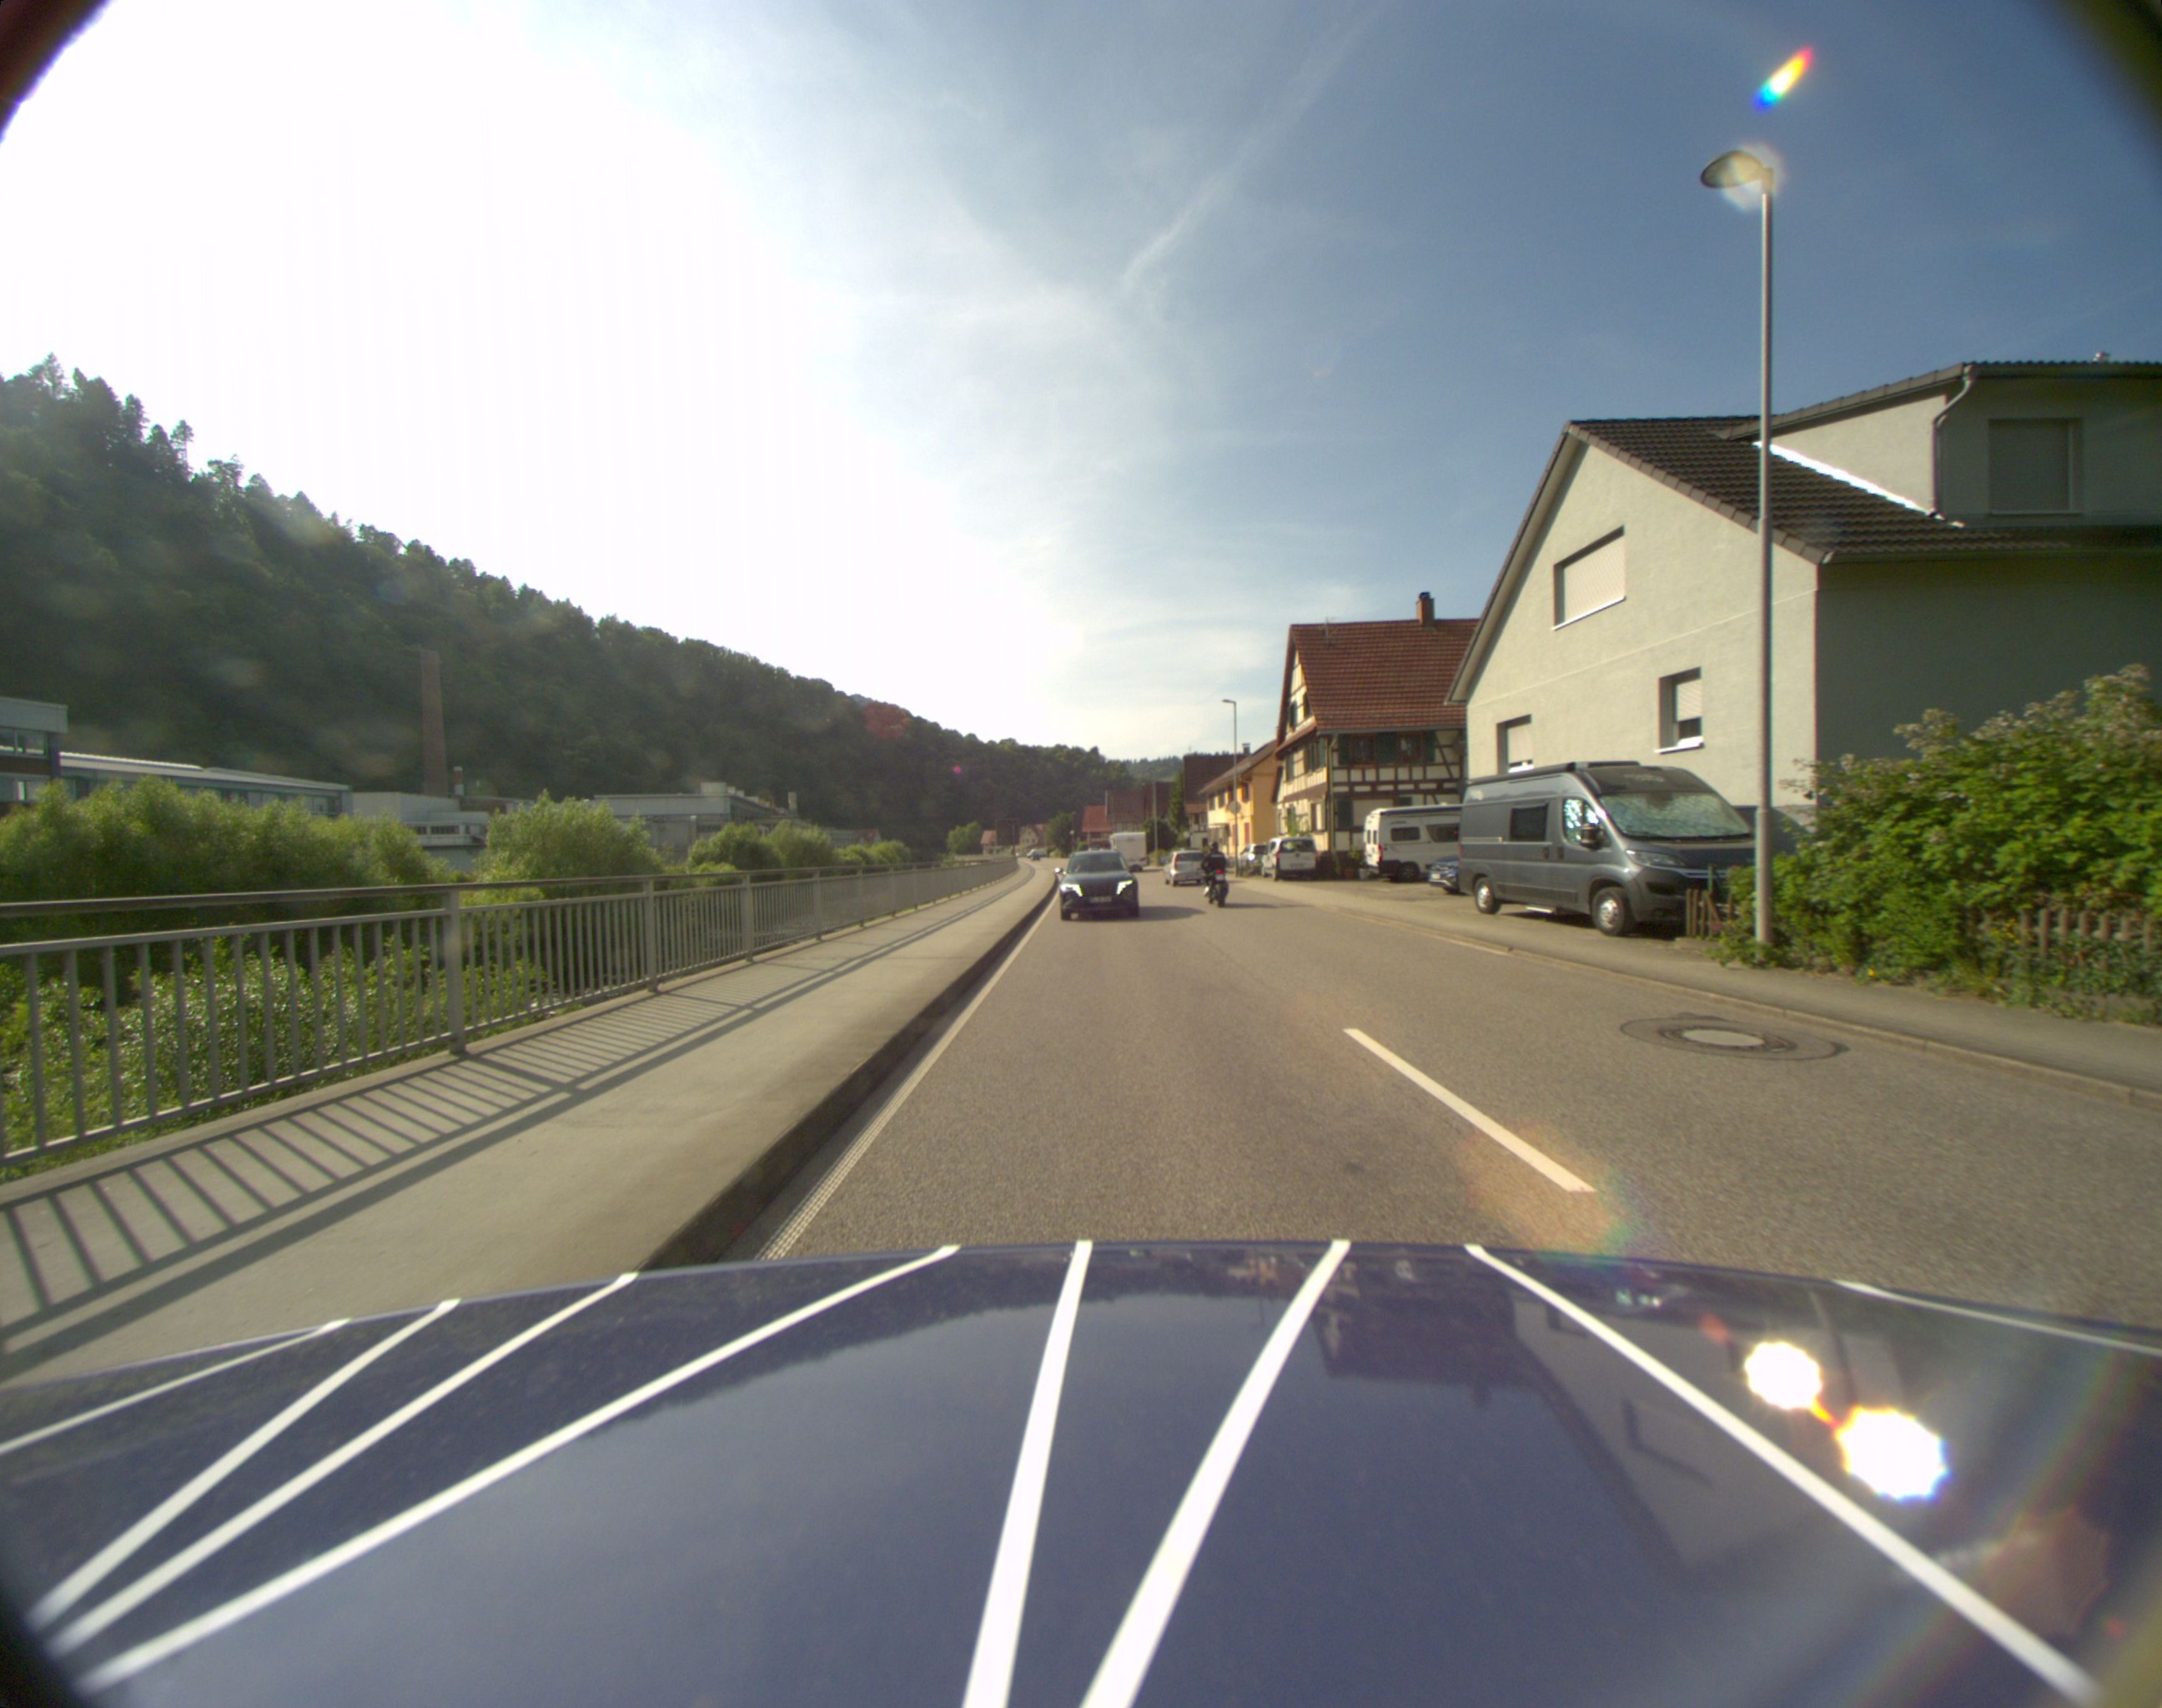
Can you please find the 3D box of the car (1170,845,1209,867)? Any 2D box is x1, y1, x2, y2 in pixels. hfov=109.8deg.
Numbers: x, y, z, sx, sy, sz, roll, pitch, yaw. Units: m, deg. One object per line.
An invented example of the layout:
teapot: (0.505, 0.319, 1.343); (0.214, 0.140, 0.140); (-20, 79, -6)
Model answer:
car: (7.975, 0.132, 56.012); (1.890, 1.510, 4.234); (-3, 1, -4)

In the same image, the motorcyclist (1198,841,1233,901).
motorcyclist: (3.537, 0.440, 20.025); (0.827, 1.549, 0.628); (-2, 1, 4)

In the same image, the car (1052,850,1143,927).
car: (0.310, 0.772, 19.150); (1.650, 1.639, 3.997); (-3, 1, -7)

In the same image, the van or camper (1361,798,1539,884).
van or camper: (13.003, -0.442, 27.104); (5.186, 2.648, 2.193); (-3, 1, 7)

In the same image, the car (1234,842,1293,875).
car: (8.929, 0.217, 37.569); (1.889, 1.510, 4.093); (-1, 0, -1)

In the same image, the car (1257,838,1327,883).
car: (8.578, 0.211, 31.233); (1.905, 1.655, 4.268); (-3, 1, 4)

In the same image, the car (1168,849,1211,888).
car: (4.604, 0.572, 32.673); (1.633, 1.476, 4.001); (-3, 1, 6)

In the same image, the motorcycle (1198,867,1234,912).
motorcycle: (3.570, 0.904, 20.178); (0.655, 1.062, 2.182); (-2, 1, 3)

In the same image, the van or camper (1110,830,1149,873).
van or camper: (3.561, -0.155, 57.082); (2.201, 2.921, 7.125); (-3, 0, -1)

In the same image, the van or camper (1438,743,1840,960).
van or camper: (8.105, -0.051, 12.102); (2.153, 2.540, 5.901); (-2, 1, 2)

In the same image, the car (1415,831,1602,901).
car: (11.467, 0.314, 20.594); (3.928, 1.541, 1.907); (-4, 0, 0)
